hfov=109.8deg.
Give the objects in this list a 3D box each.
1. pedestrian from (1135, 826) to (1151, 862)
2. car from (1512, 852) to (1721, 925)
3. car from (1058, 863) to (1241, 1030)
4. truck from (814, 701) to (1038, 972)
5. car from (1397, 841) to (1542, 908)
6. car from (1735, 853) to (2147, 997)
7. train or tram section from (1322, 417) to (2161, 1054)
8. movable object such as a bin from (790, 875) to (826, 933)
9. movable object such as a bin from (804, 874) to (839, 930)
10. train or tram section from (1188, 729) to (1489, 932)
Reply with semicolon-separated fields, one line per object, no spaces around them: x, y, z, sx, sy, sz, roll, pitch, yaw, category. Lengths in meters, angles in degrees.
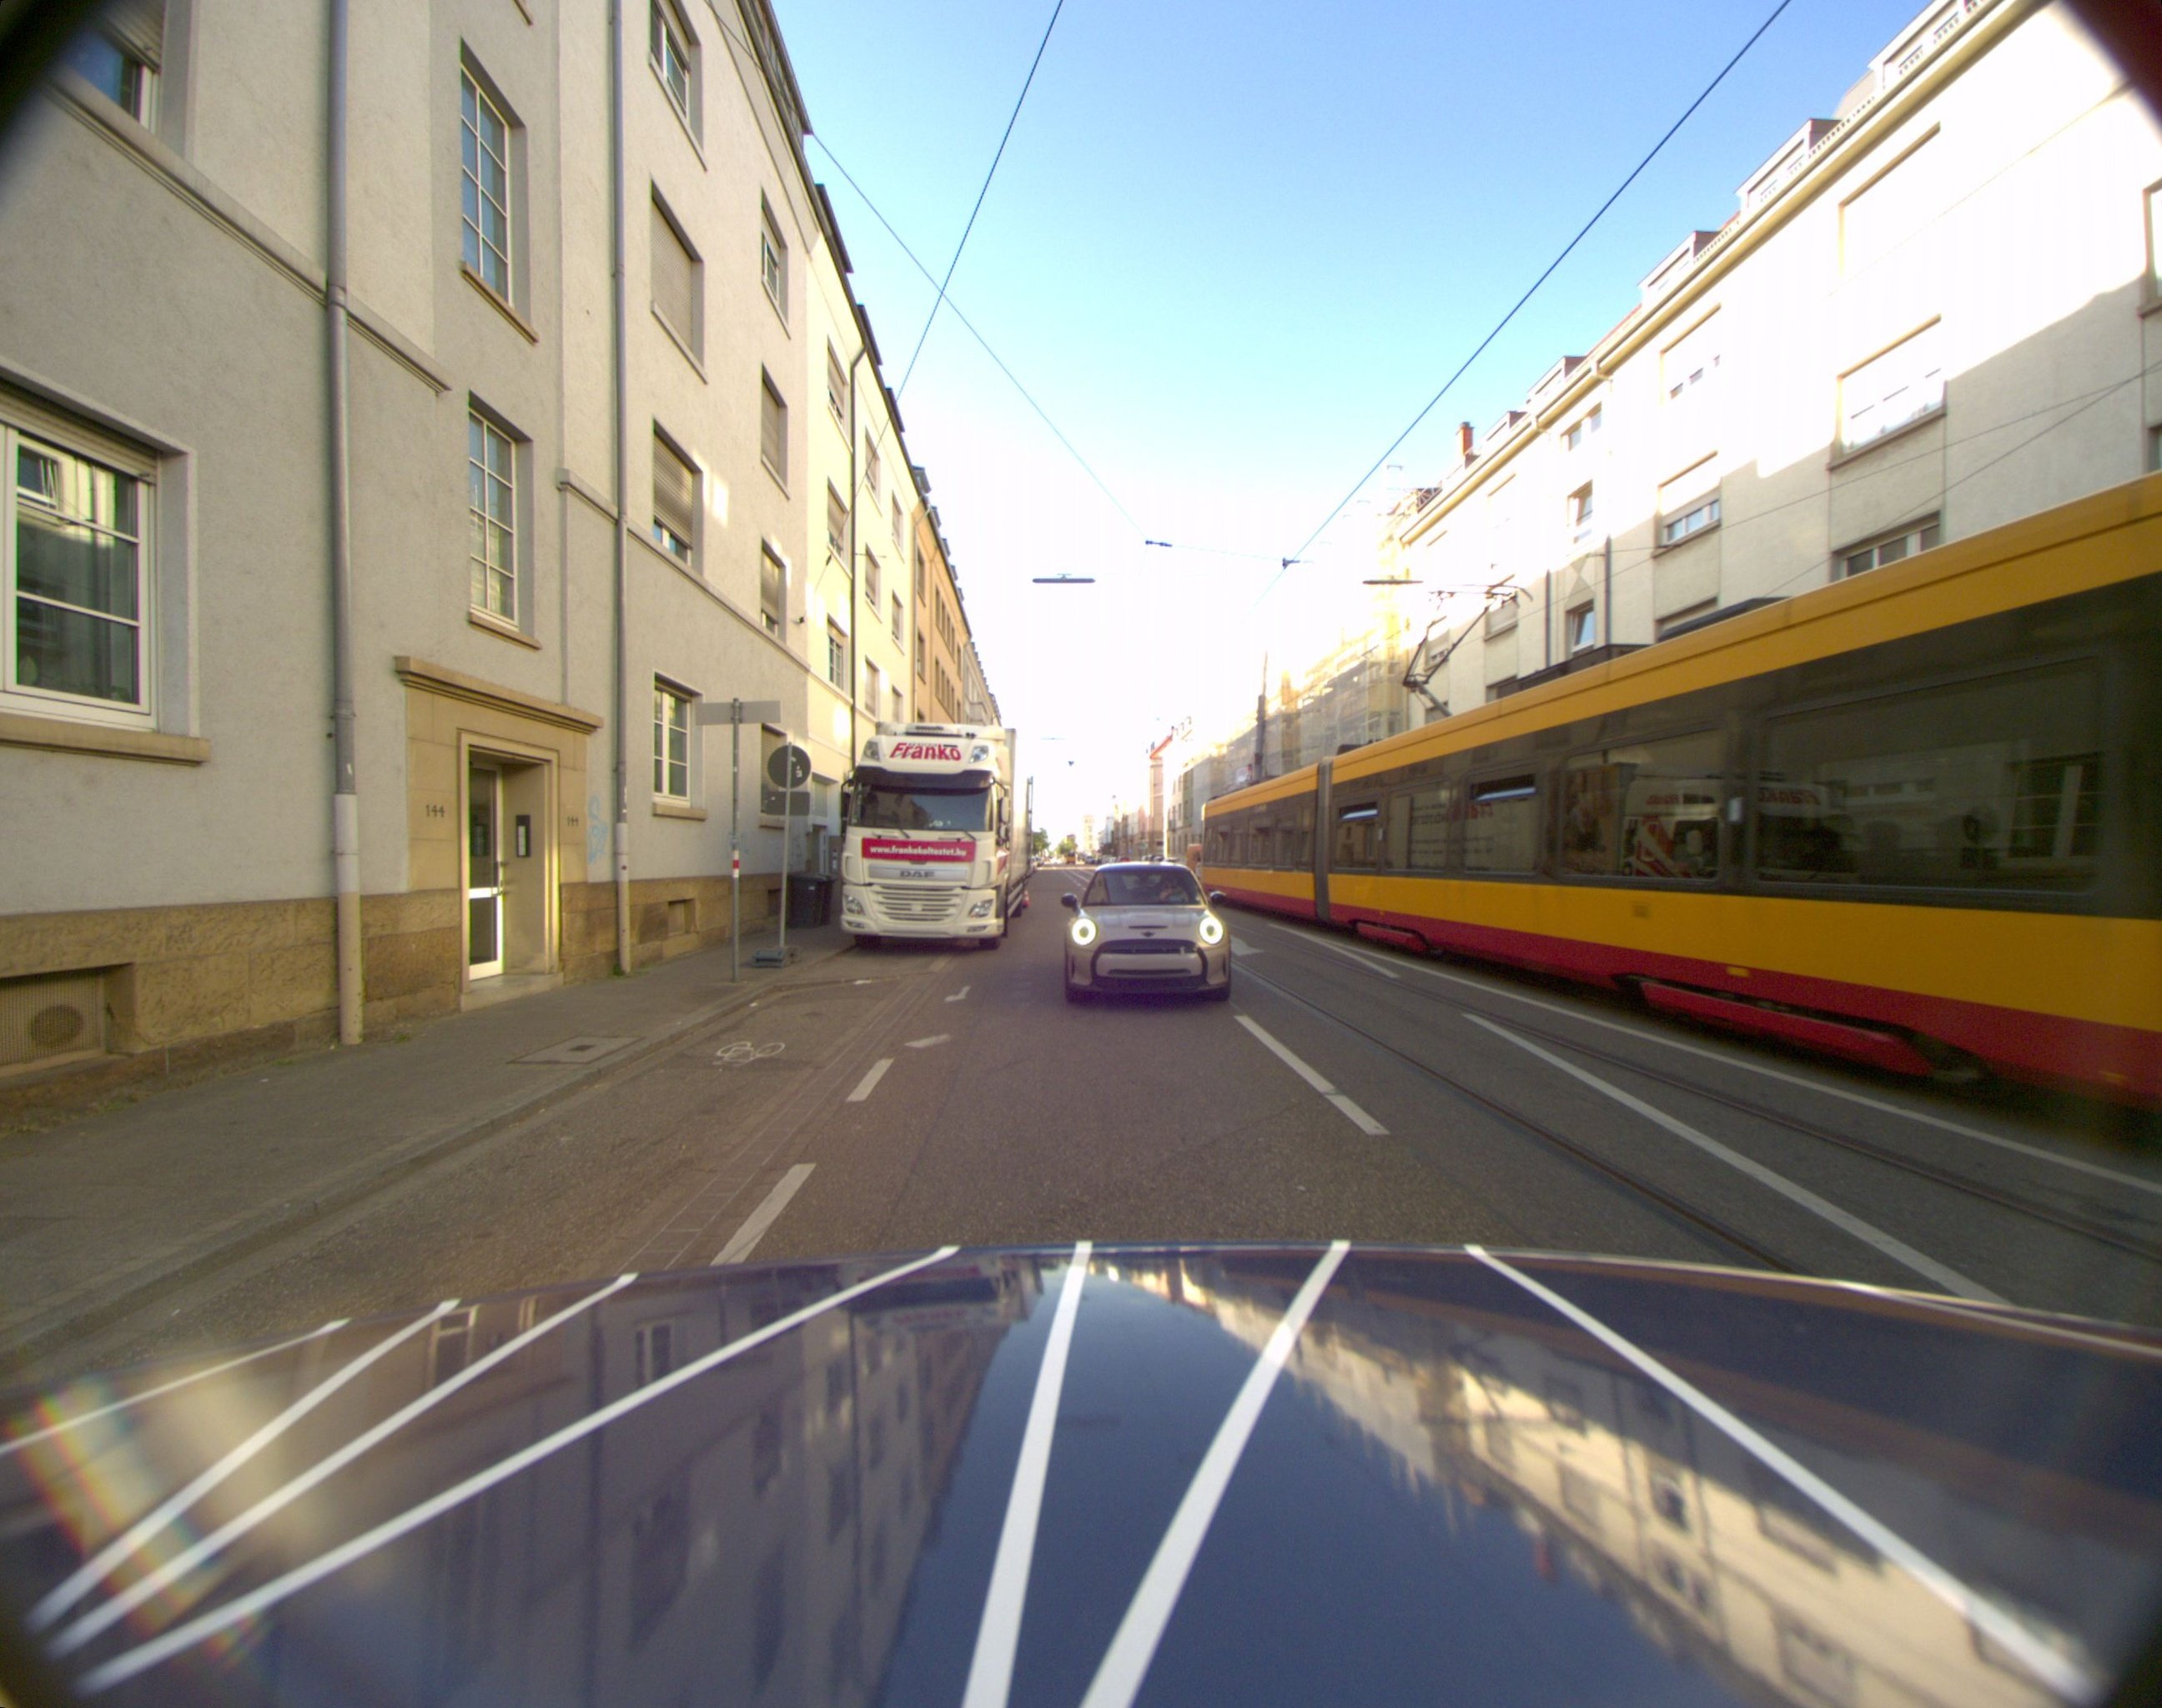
7.665;-1.285;94.388;1.723;4.377;1.153;-2;1;2;pedestrian
10.920;0.632;15.821;1.751;1.269;3.488;-2;1;-4;car
0.632;0.880;9.047;1.692;1.495;4.000;0;0;0;car
-2.623;-0.254;17.148;2.899;3.939;11.704;-2;0;-2;truck
10.462;0.493;20.848;1.712;1.582;4.112;-2;1;-3;car
11.416;0.818;10.492;1.670;1.563;3.496;-2;1;-2;car
5.900;-0.735;8.936;2.833;3.610;9.081;-2;1;-2;train or tram section
-5.390;0.979;15.023;0.512;1.085;0.495;-2;1;-4;movable object such as a bin
-5.336;0.979;15.635;0.512;1.085;0.495;-2;1;-4;movable object such as a bin
5.497;-0.455;19.883;3.070;3.573;12.626;1;0;-2;train or tram section
